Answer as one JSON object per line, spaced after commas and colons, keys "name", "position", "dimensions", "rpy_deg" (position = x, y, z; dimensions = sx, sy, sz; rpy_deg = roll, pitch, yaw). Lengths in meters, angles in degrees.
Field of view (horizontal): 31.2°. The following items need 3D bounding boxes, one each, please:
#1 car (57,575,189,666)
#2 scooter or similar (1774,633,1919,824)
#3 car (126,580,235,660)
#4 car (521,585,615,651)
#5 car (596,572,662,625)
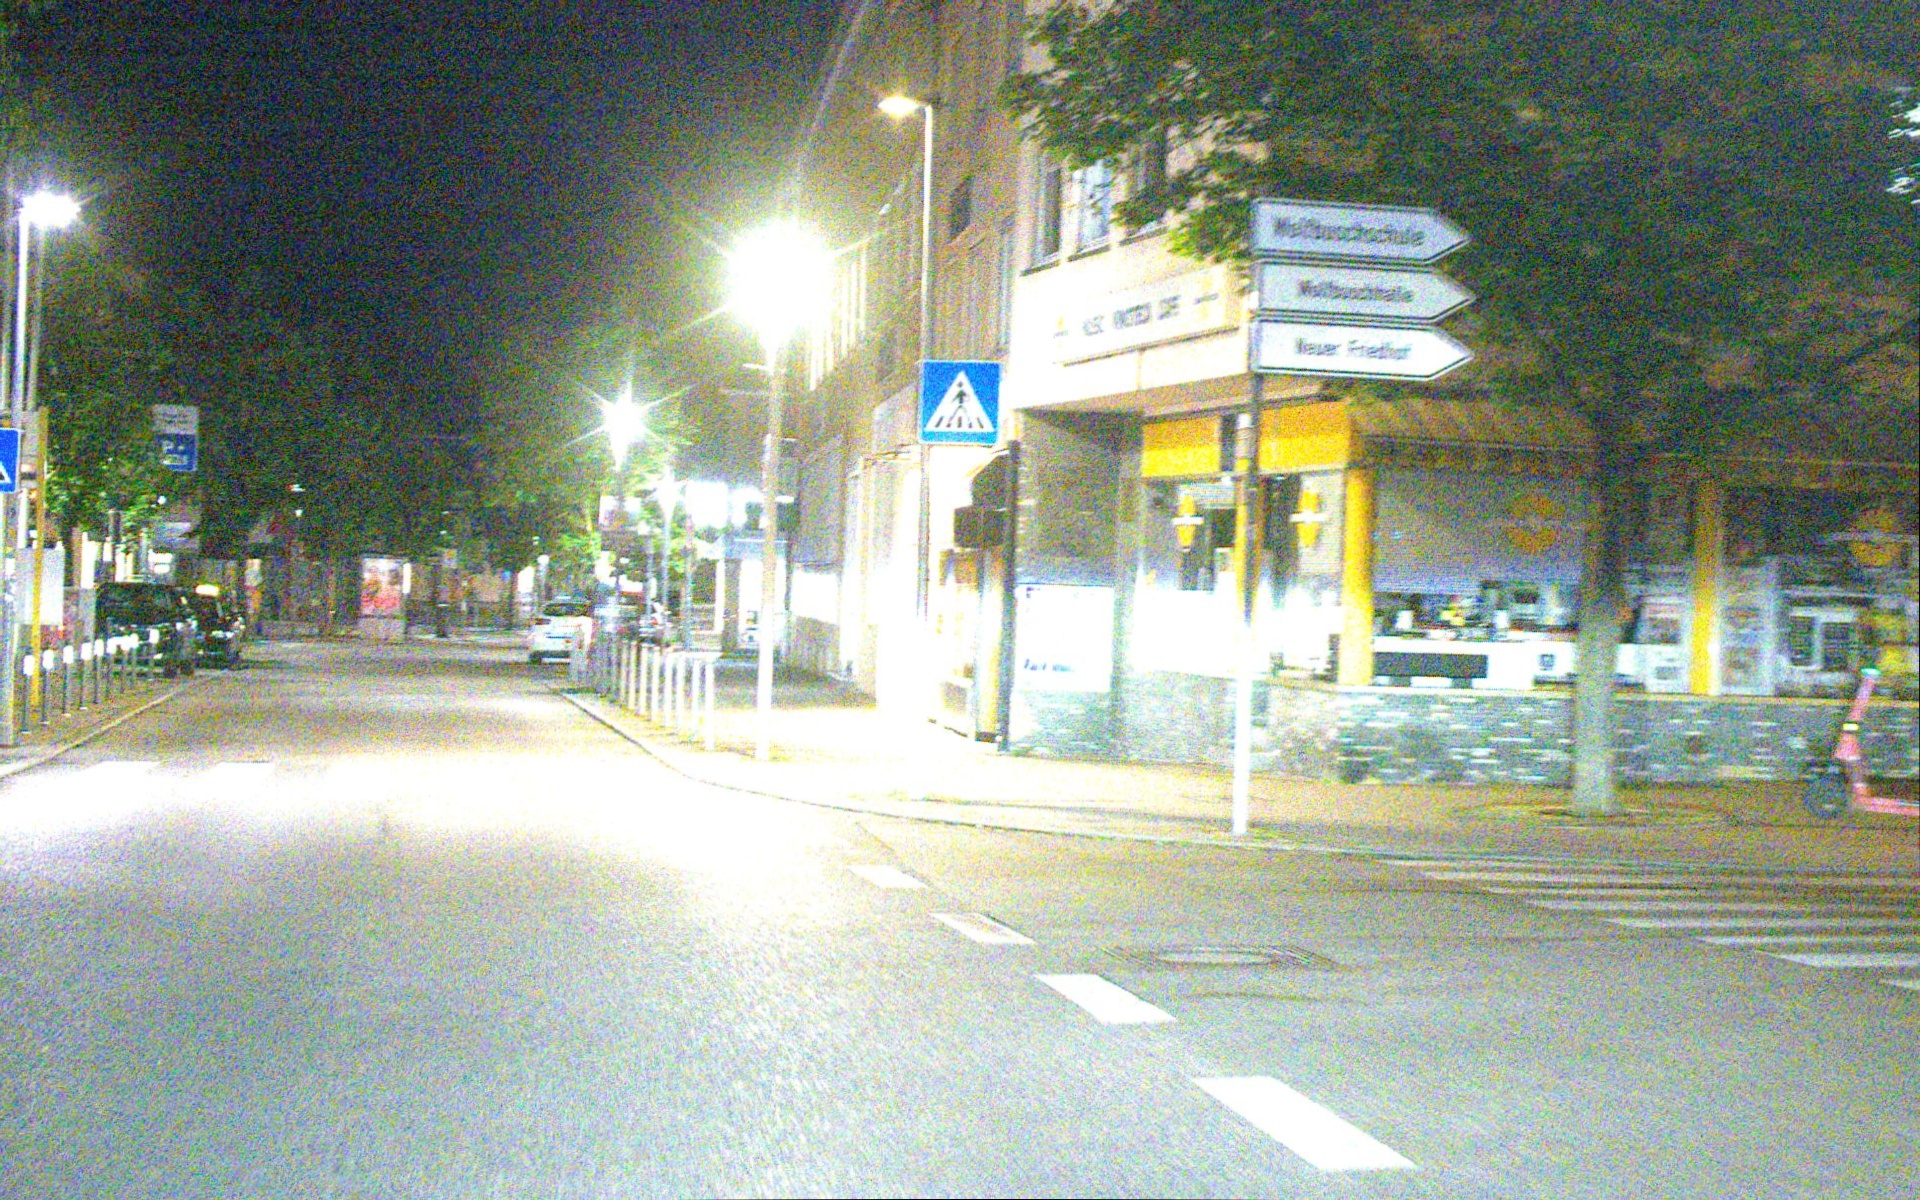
{"name": "car", "position": [-13.782, 0.335, 56.775], "dimensions": [1.833, 1.448, 4.001], "rpy_deg": [0, 0, -10]}
{"name": "scooter or similar", "position": [6.261, 0.875, 23.347], "dimensions": [1.246, 1.223, 0.598], "rpy_deg": [3, 1, -3]}
{"name": "car", "position": [-15.312, 0.374, 67.420], "dimensions": [1.833, 1.448, 4.001], "rpy_deg": [0, 1, -16]}
{"name": "car", "position": [-8.847, 0.392, 77.387], "dimensions": [1.833, 1.354, 4.001], "rpy_deg": [0, 1, -10]}
{"name": "car", "position": [-10.274, -0.051, 106.560], "dimensions": [1.709, 1.542, 3.540], "rpy_deg": [0, 1, -10]}
